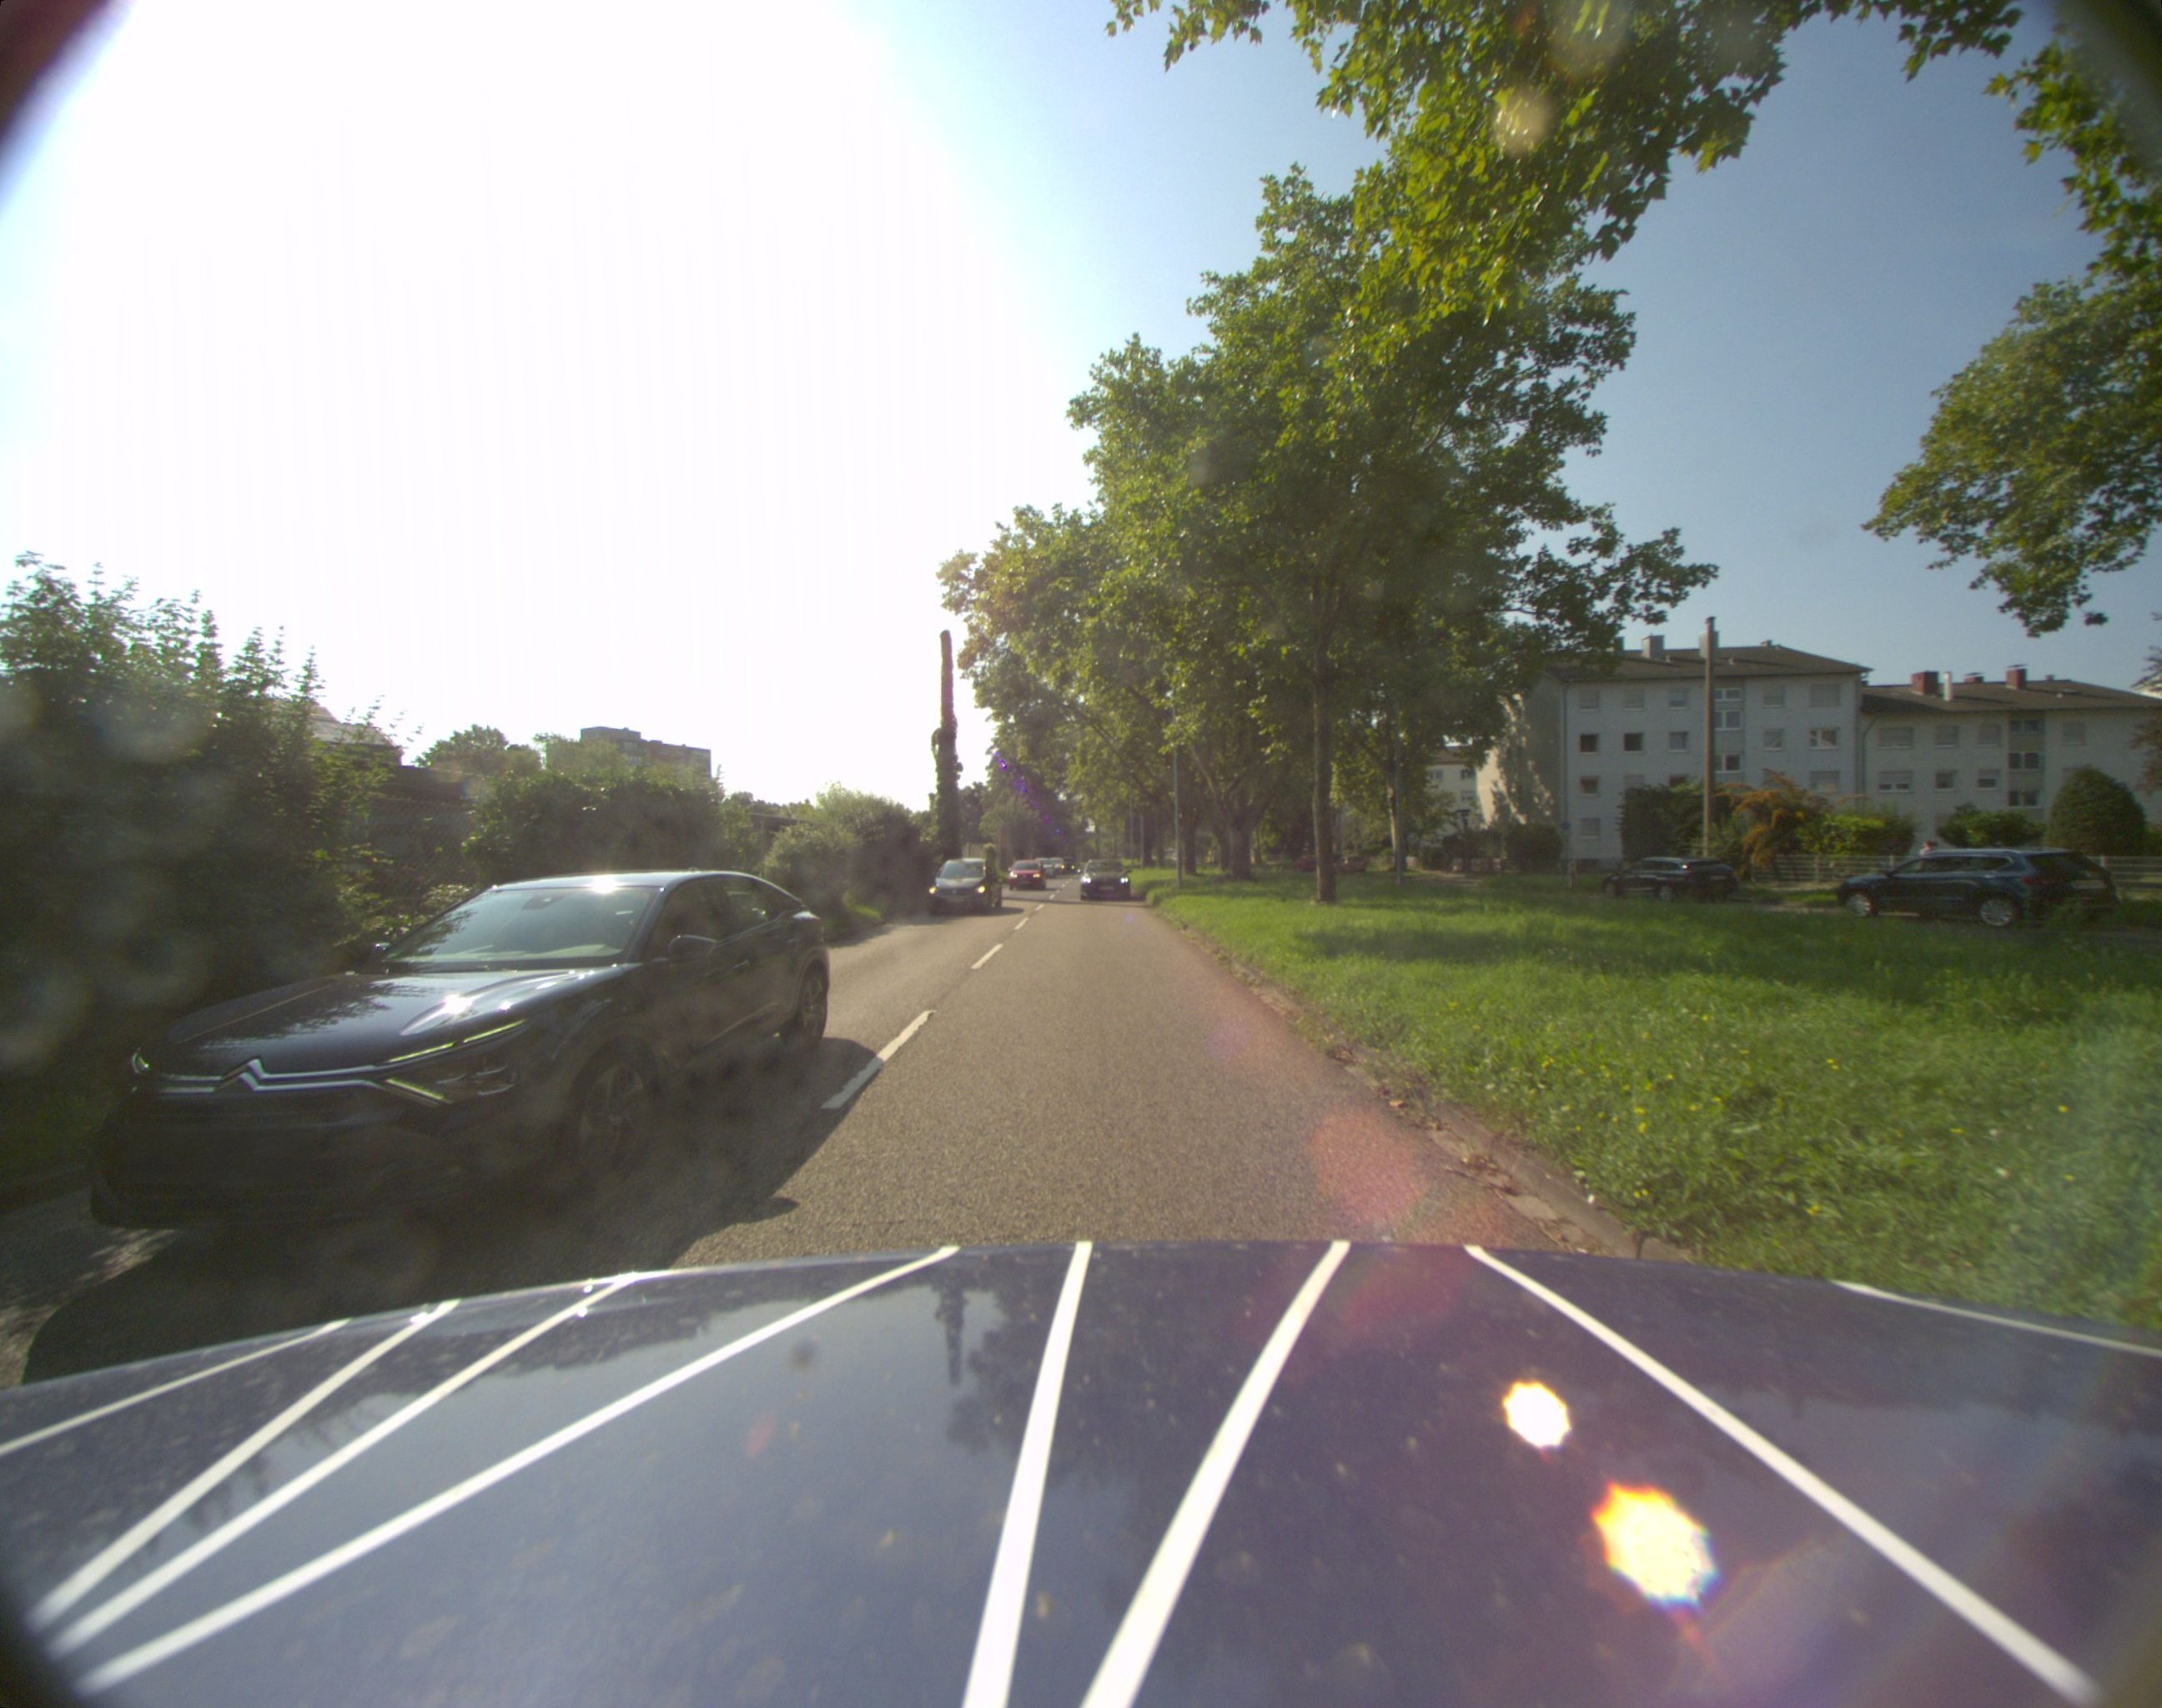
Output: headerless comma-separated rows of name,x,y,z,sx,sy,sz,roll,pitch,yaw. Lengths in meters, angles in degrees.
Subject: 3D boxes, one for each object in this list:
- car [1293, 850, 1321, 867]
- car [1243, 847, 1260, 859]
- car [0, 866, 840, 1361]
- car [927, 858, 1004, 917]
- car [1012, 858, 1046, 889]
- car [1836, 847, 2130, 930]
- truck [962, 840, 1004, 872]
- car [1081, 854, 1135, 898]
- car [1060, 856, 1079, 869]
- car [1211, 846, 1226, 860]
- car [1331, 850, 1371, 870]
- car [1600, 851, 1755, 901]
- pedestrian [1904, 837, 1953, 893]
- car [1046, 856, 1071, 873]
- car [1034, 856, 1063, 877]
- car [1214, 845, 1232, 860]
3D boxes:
car,20.778,0.381,69.890,1.542,1.443,4.064,-1,1,3
car,23.673,-0.150,105.653,1.526,1.524,3.863,0,1,2
car,-3.029,0.923,4.715,1.649,1.579,4.254,0,1,1
car,-3.351,0.930,22.707,1.649,1.547,3.898,0,1,1
car,-2.573,0.938,38.103,1.579,1.390,3.470,0,1,-3
car,19.209,0.651,16.519,1.703,1.558,4.000,-1,0,2
truck,-7.330,0.122,57.679,1.919,2.220,6.913,-1,1,3
car,0.962,0.780,28.423,1.862,1.572,3.612,0,0,0
car,-1.262,0.975,85.864,1.648,1.378,3.900,-1,1,6
car,25.358,-0.278,140.205,2.212,2.465,6.063,-1,1,6
car,20.608,0.424,58.111,1.806,1.421,4.065,-1,0,3
car,19.725,0.667,25.415,1.703,1.499,4.541,-1,0,2
pedestrian,25.582,0.322,22.944,0.648,1.636,0.735,-1,1,0
car,-1.935,0.913,67.464,1.648,1.467,3.900,-1,1,6
car,-2.426,0.894,57.358,1.648,1.467,3.900,-1,1,5
car,24.643,-0.222,132.081,2.212,2.416,6.267,-3,0,4
